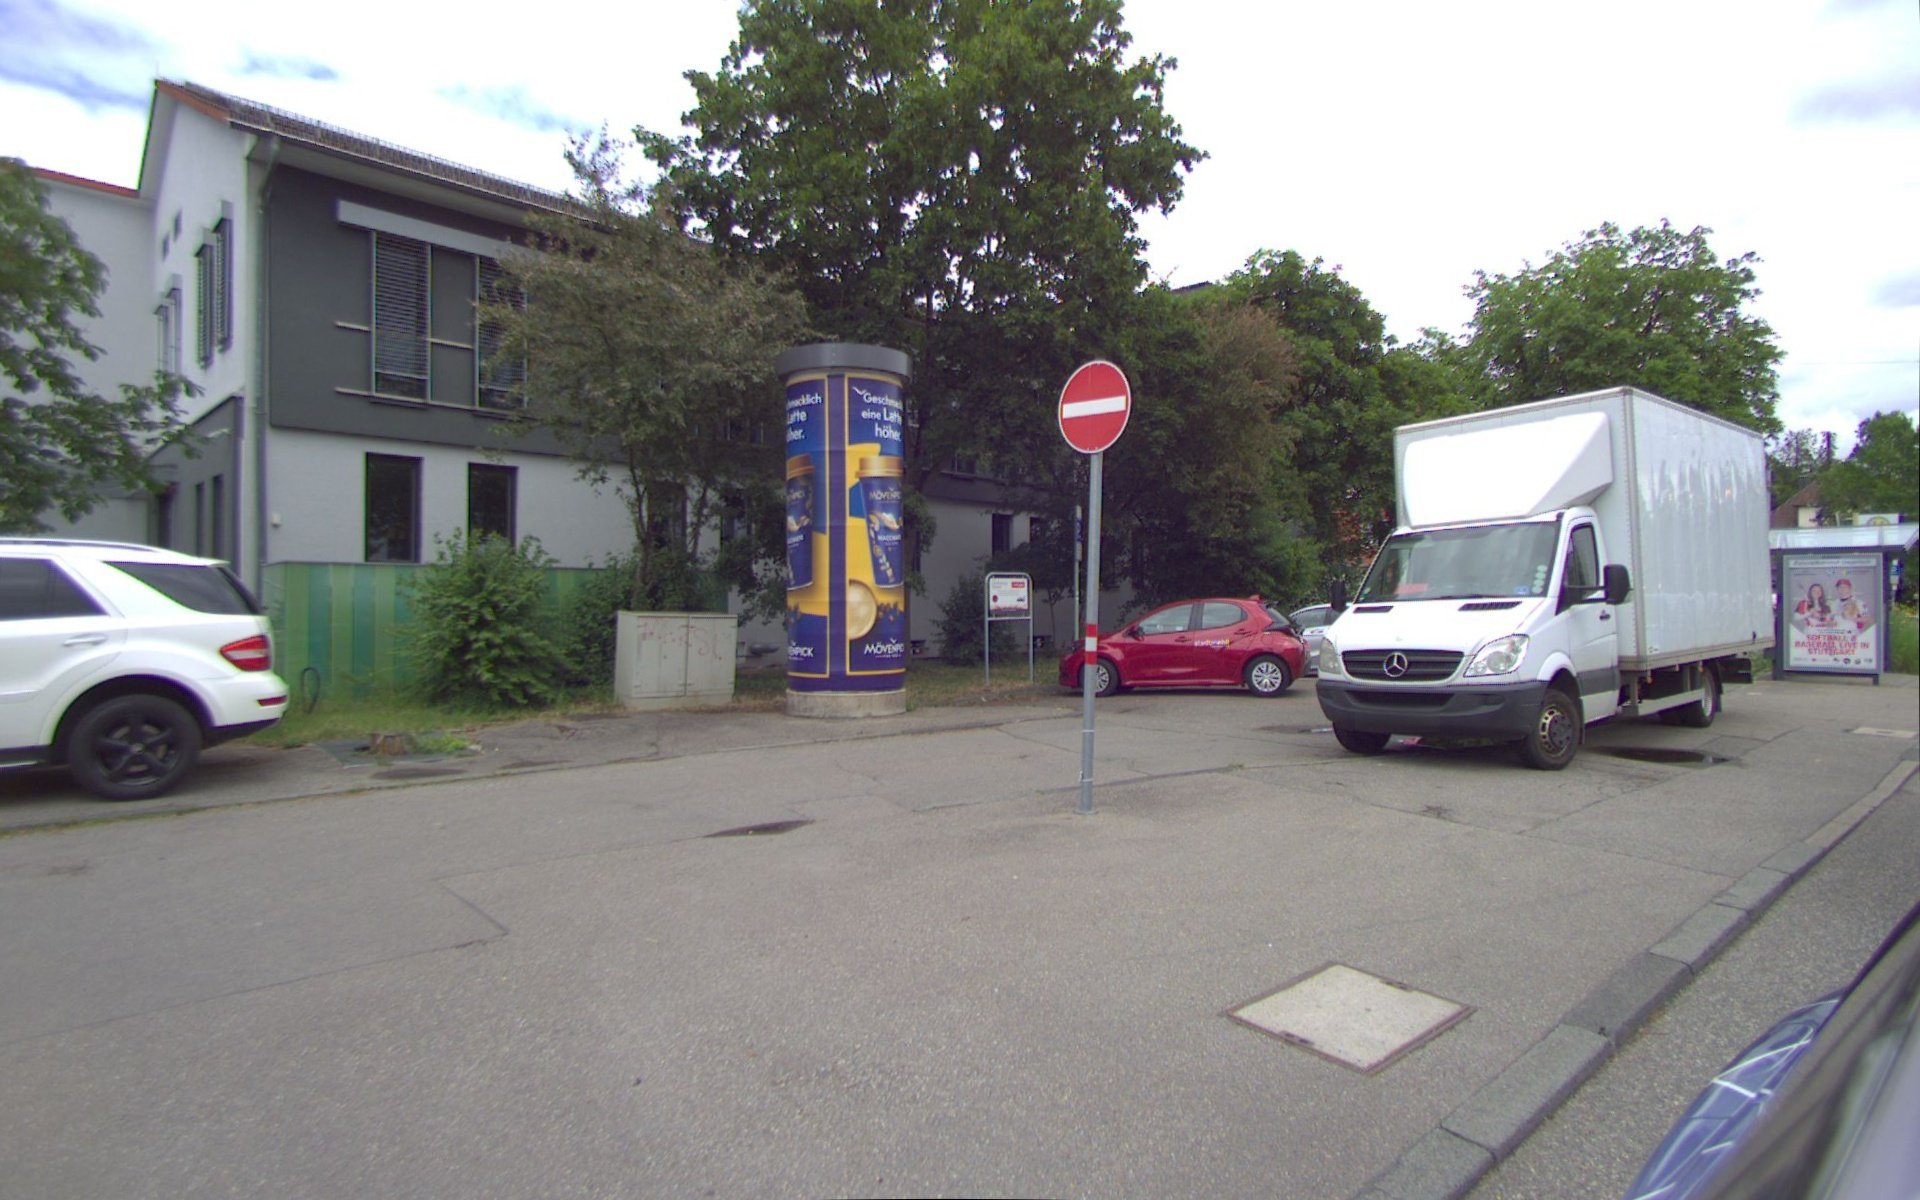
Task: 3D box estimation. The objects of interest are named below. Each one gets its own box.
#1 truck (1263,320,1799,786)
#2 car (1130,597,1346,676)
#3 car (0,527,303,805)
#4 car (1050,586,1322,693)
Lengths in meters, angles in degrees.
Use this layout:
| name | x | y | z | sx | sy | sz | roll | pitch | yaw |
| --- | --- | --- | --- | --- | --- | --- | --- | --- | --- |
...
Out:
| name | x | y | z | sx | sy | sz | roll | pitch | yaw |
| --- | --- | --- | --- | --- | --- | --- | --- | --- | --- |
| truck | 6.584 | -0.407 | 10.978 | 7.638 | 3.469 | 2.540 | -1 | 0 | -40 |
| car | 5.466 | 0.714 | 20.089 | 3.946 | 1.428 | 1.516 | -2 | -1 | 18 |
| car | -7.261 | 0.423 | 6.742 | 4.640 | 1.780 | 1.855 | 0 | 0 | -41 |
| car | 3.509 | 0.615 | 15.772 | 3.856 | 1.502 | 1.669 | -2 | -1 | 25 |
